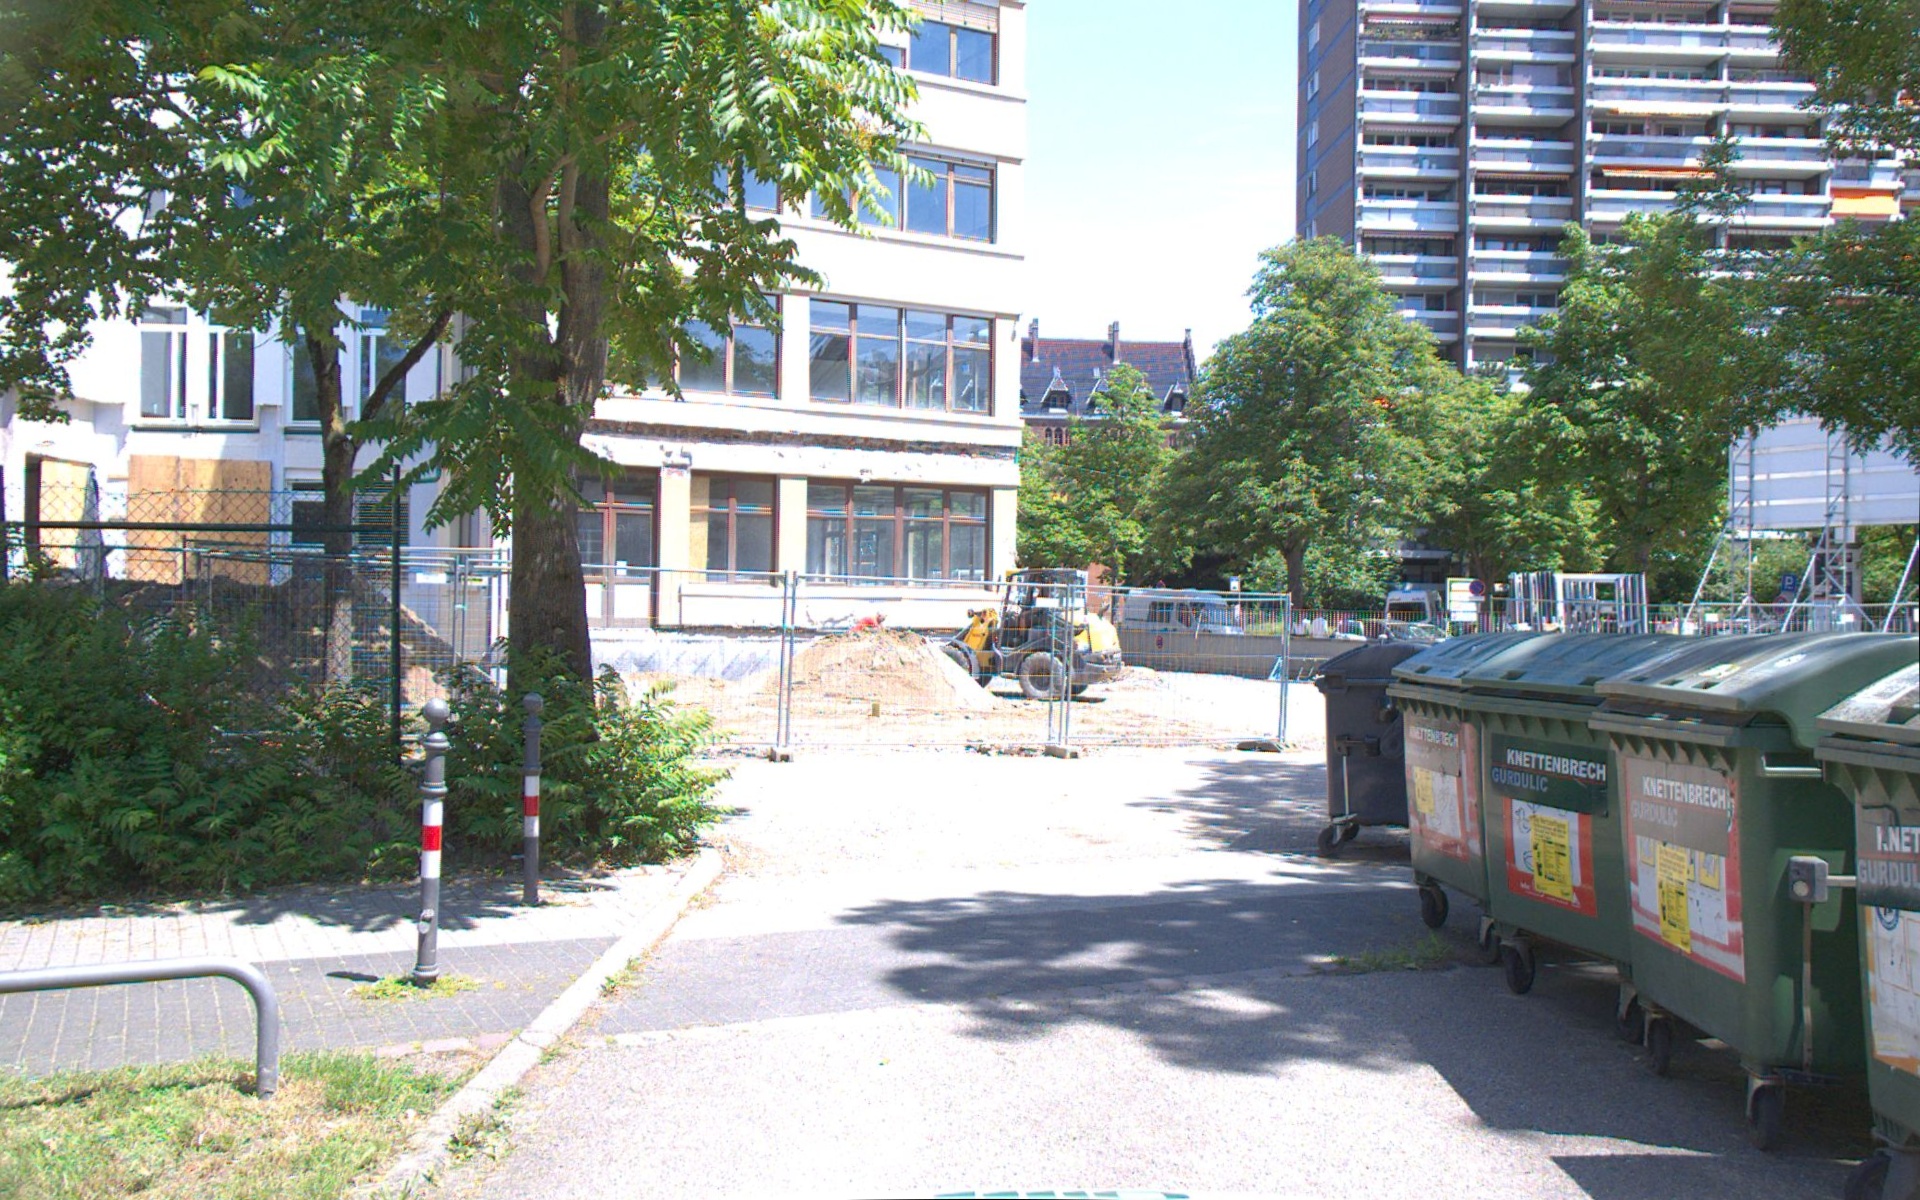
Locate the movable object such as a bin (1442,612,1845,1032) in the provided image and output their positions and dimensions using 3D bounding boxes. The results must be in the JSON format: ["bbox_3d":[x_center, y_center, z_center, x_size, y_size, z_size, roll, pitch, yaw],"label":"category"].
[{"bbox_3d":[2.643,0.800,6.596,1.053,1.483,1.377,1,-1,1],"label":"movable object such as a bin"}]

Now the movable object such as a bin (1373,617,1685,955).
[{"bbox_3d":[2.695,0.832,8.017,1.053,1.483,1.377,1,-1,1],"label":"movable object such as a bin"}]

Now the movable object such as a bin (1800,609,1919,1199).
[{"bbox_3d":[2.739,0.767,3.681,1.053,1.483,1.377,1,-1,1],"label":"movable object such as a bin"}]

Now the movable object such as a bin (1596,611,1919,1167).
[{"bbox_3d":[2.755,0.784,5.124,1.053,1.483,1.377,1,-1,1],"label":"movable object such as a bin"}]

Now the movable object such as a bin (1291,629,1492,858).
[{"bbox_3d":[2.966,0.950,11.525,1.053,1.483,1.377,1,-1,1],"label":"movable object such as a bin"}]

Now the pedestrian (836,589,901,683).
[{"bbox_3d":[-1.853,0.721,33.598,0.964,1.879,0.915,0,-1,28],"label":"pedestrian"}]

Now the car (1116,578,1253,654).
[{"bbox_3d":[7.647,0.548,56.822,1.972,2.459,5.192,1,-1,-29],"label":"car"}]

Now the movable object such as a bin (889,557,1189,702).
[{"bbox_3d":[1.543,0.523,32.310,5.296,2.507,2.366,2,0,25],"label":"movable object such as a bin"}]

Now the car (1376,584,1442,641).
[{"bbox_3d":[18.740,0.528,68.881,2.139,2.298,4.869,0,-1,21],"label":"car"}]
